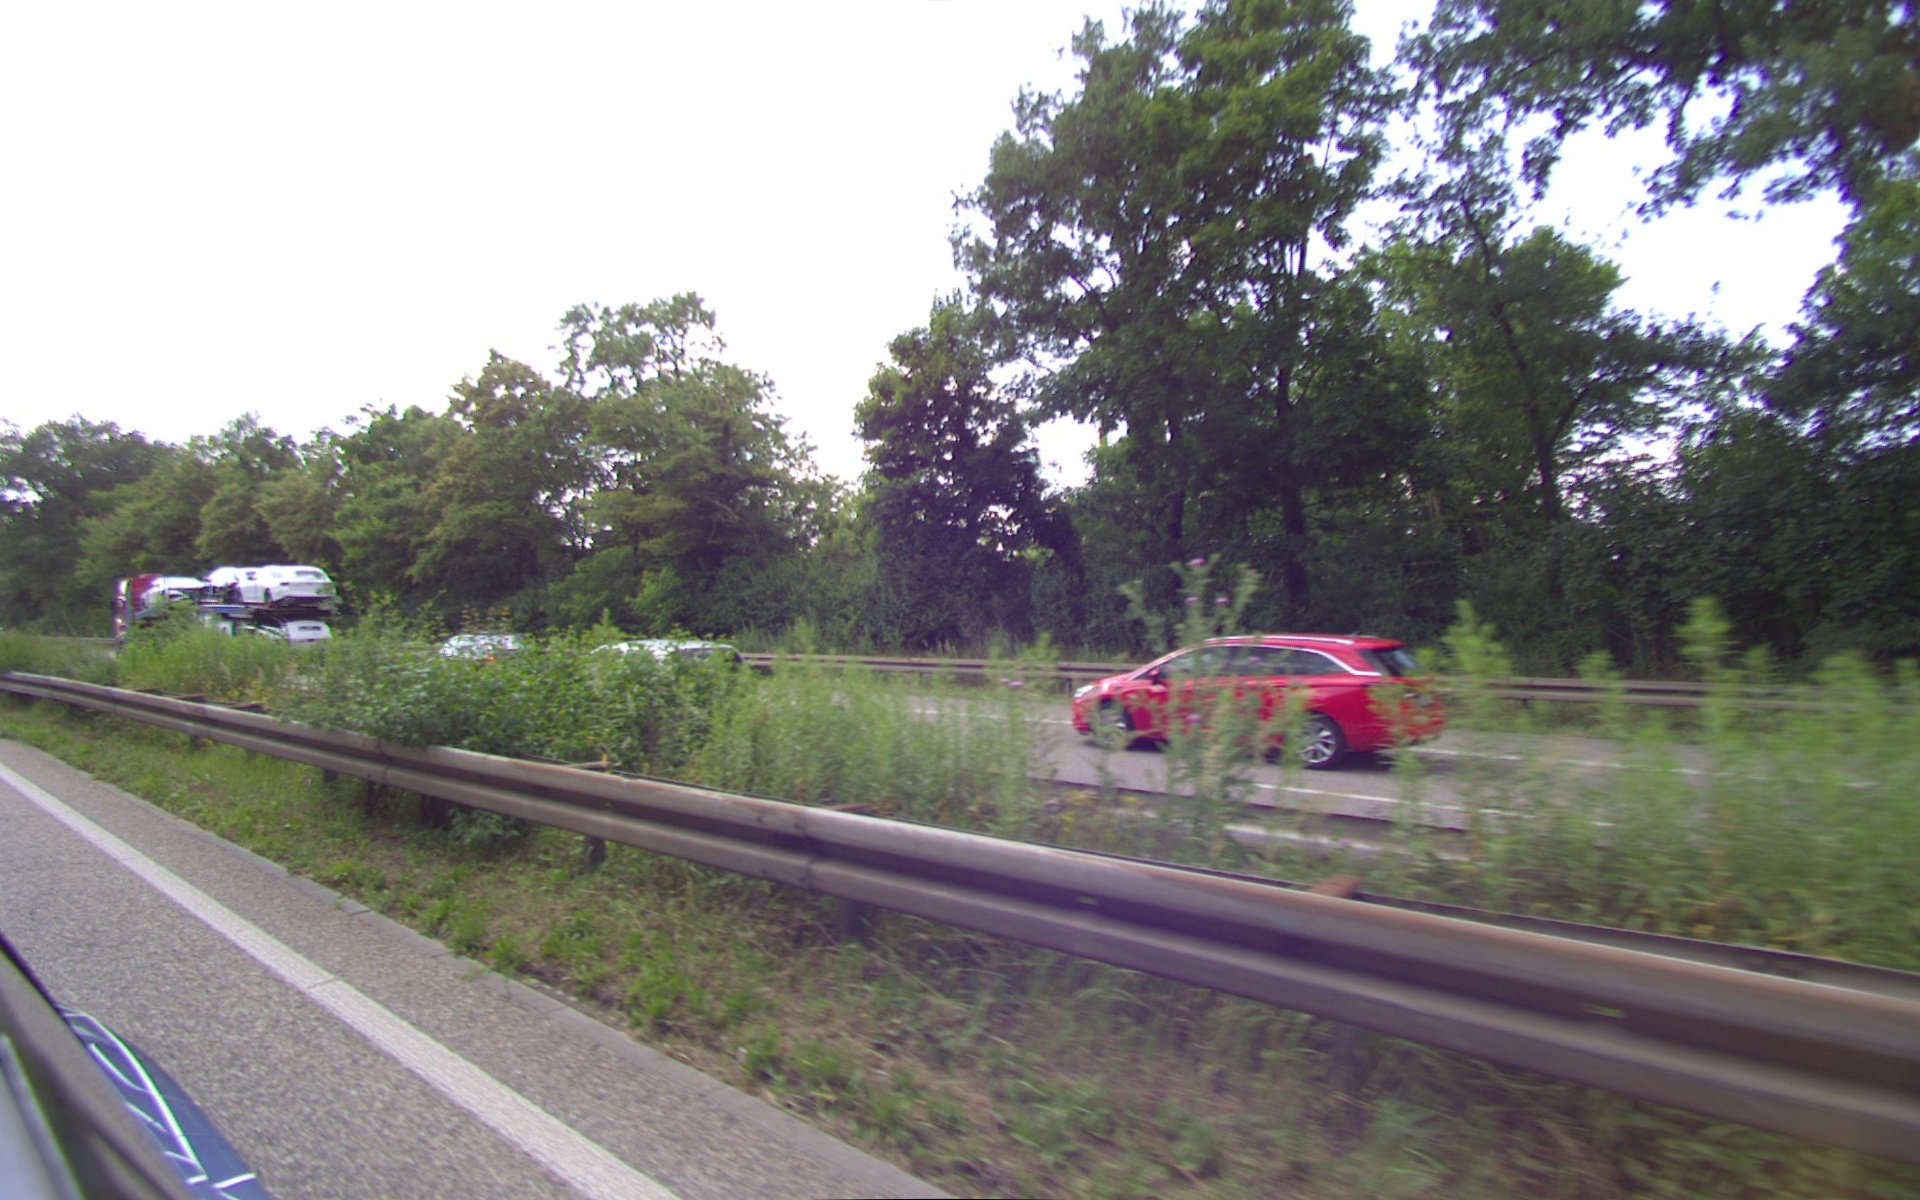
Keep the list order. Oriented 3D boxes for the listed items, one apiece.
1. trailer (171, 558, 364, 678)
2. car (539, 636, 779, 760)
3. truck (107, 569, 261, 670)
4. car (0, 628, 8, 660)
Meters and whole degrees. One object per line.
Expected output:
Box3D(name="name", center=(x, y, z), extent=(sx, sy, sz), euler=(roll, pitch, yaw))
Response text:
Box3D(name="trailer", center=(-25.432, 0.698, 36.878), extent=(10.297, 3.862, 2.909), euler=(-1, -2, 39))
Box3D(name="car", center=(-4.149, 1.231, 13.740), extent=(3.321, 1.434, 1.598), euler=(-2, -2, 41))
Box3D(name="truck", center=(-33.425, 0.867, 43.367), extent=(10.313, 3.885, 2.925), euler=(-1, -2, 39))
Box3D(name="car", center=(-49.181, 2.209, 50.657), extent=(4.258, 1.563, 1.657), euler=(-2, -2, 39))
